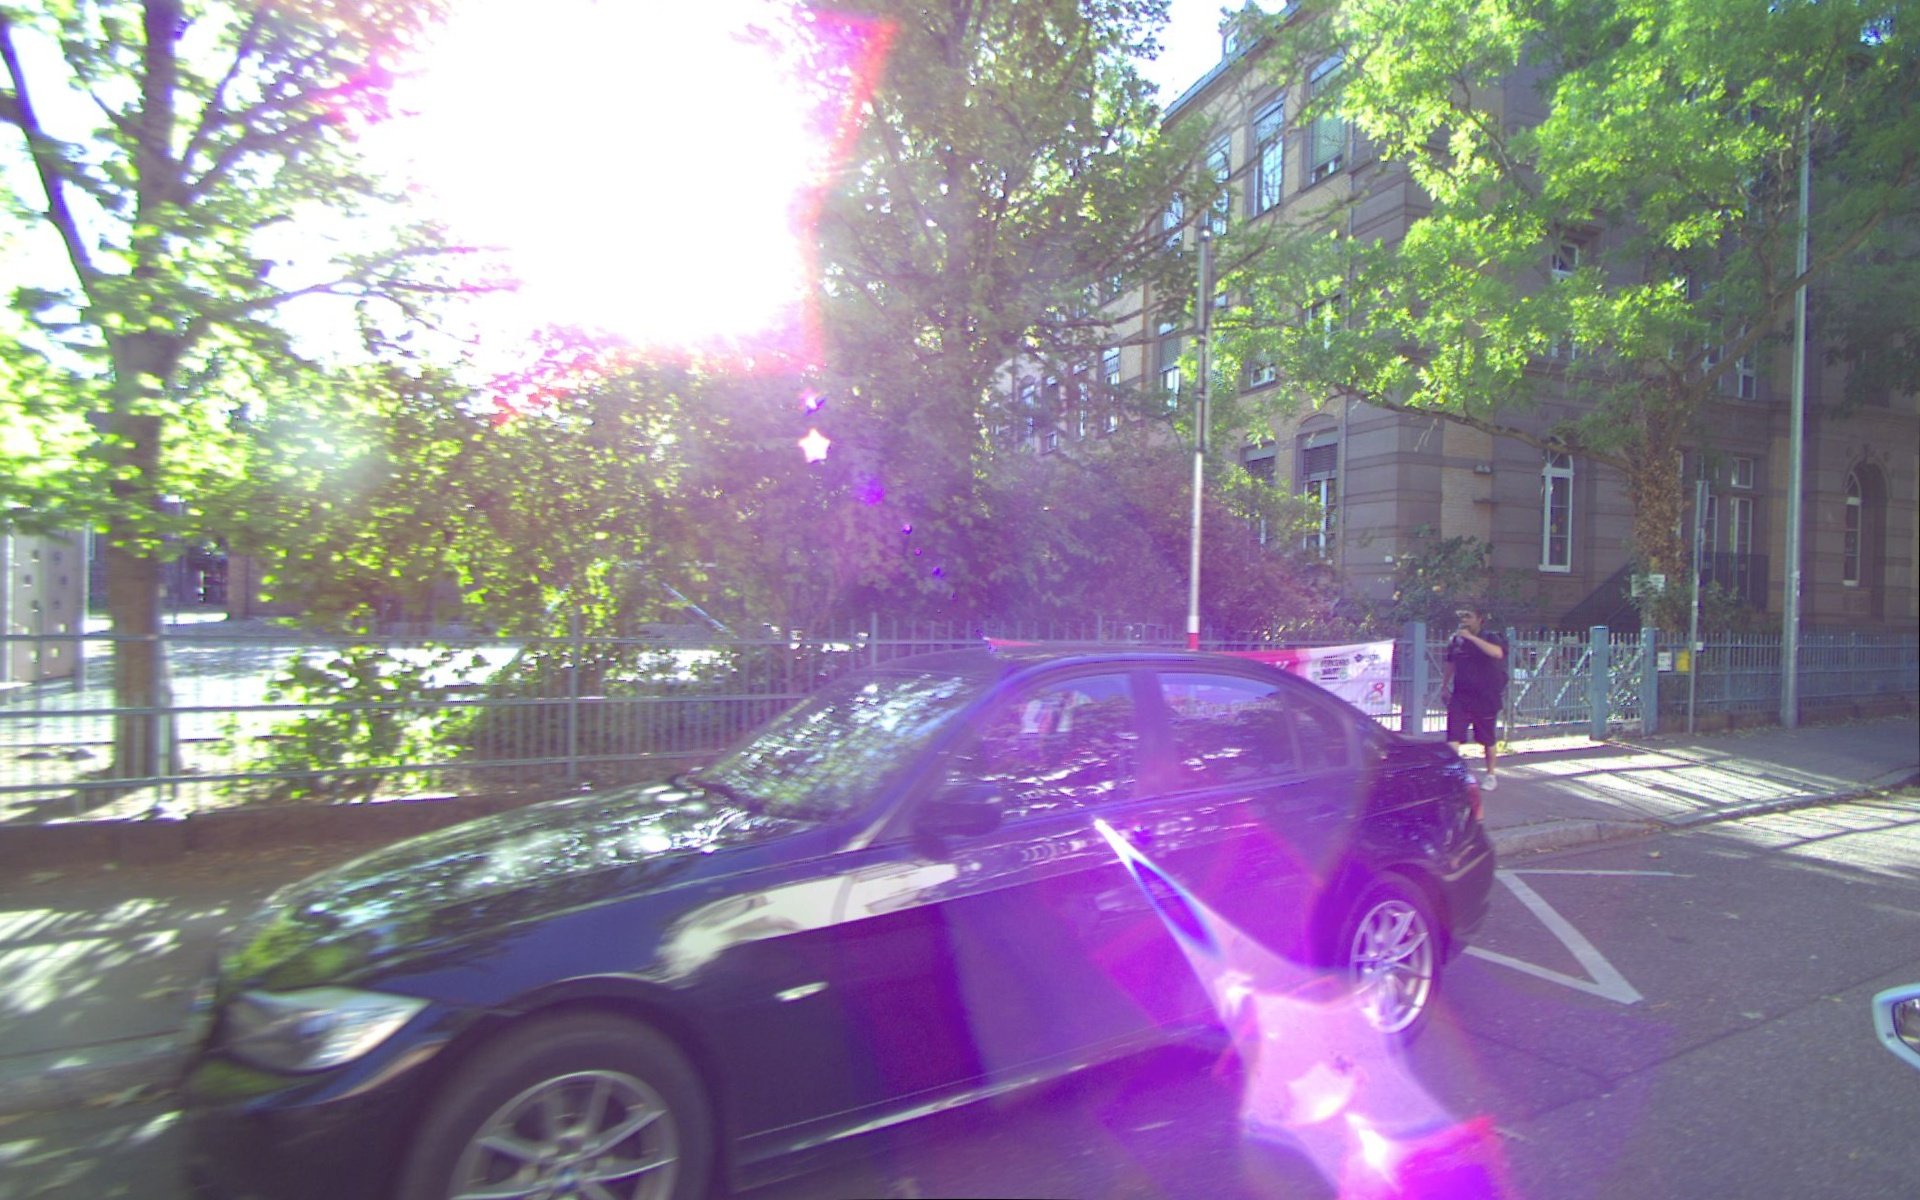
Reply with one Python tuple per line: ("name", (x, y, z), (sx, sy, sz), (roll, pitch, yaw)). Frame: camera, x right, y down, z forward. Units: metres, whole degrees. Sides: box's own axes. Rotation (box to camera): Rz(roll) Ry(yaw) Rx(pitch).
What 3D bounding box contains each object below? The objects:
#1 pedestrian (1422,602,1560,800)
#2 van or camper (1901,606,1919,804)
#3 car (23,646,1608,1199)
("pedestrian", (4.574, 0.831, 8.689), (0.523, 1.598, 0.877), (1, 0, -28))
("van or camper", (12.478, 1.095, 10.862), (5.399, 2.005, 1.913), (2, -4, -31))
("car", (0.121, 0.892, 3.546), (4.725, 1.413, 1.706), (2, -4, -31))
